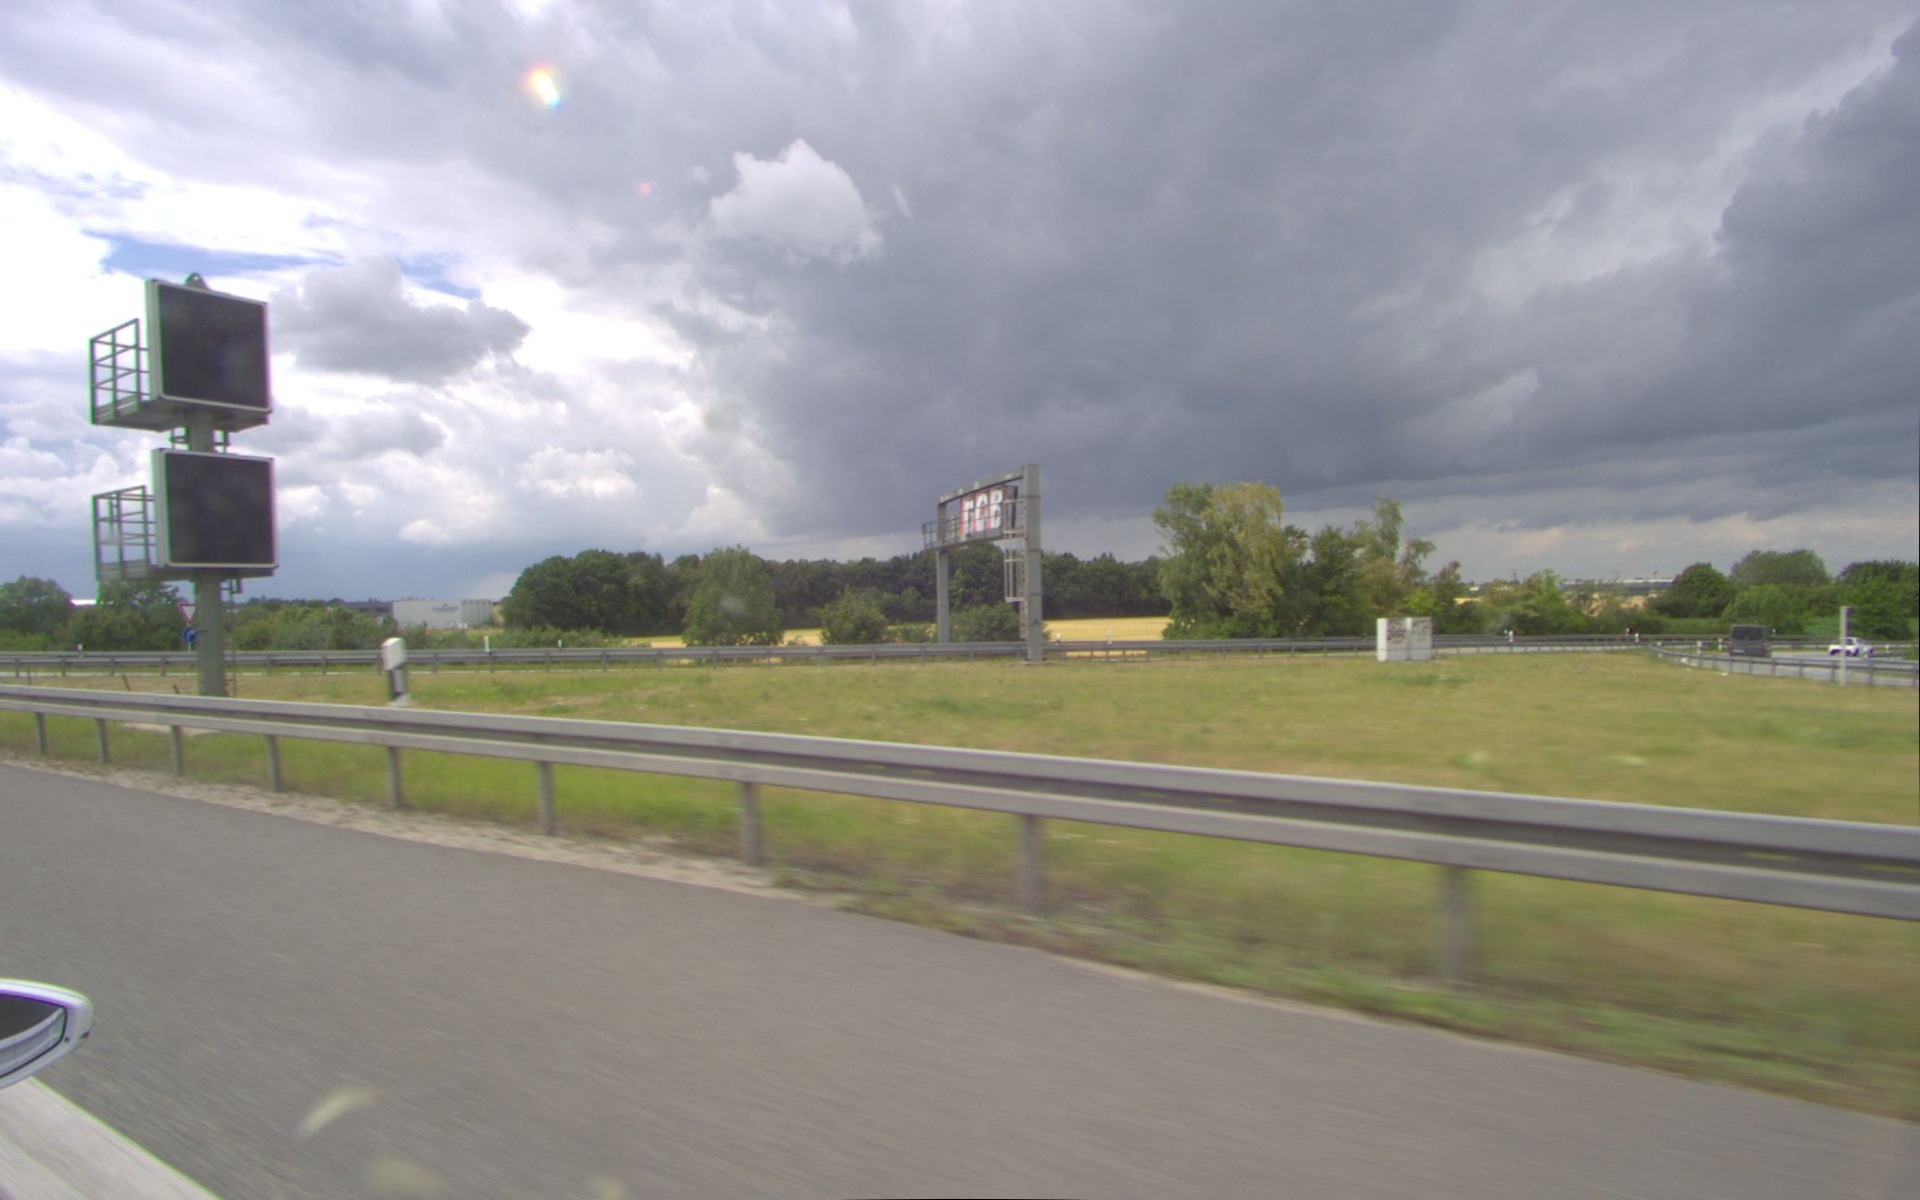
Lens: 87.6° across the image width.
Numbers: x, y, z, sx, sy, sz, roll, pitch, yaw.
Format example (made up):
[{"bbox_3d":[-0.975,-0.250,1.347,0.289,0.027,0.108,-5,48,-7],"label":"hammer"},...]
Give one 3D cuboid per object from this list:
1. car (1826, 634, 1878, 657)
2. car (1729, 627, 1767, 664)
[{"bbox_3d":[72.449,3.679,81.322,3.942,1.731,1.990,1,-1,-30],"label":"car"},{"bbox_3d":[51.093,2.896,64.980,1.889,2.291,4.617,0,-1,38],"label":"car"}]
